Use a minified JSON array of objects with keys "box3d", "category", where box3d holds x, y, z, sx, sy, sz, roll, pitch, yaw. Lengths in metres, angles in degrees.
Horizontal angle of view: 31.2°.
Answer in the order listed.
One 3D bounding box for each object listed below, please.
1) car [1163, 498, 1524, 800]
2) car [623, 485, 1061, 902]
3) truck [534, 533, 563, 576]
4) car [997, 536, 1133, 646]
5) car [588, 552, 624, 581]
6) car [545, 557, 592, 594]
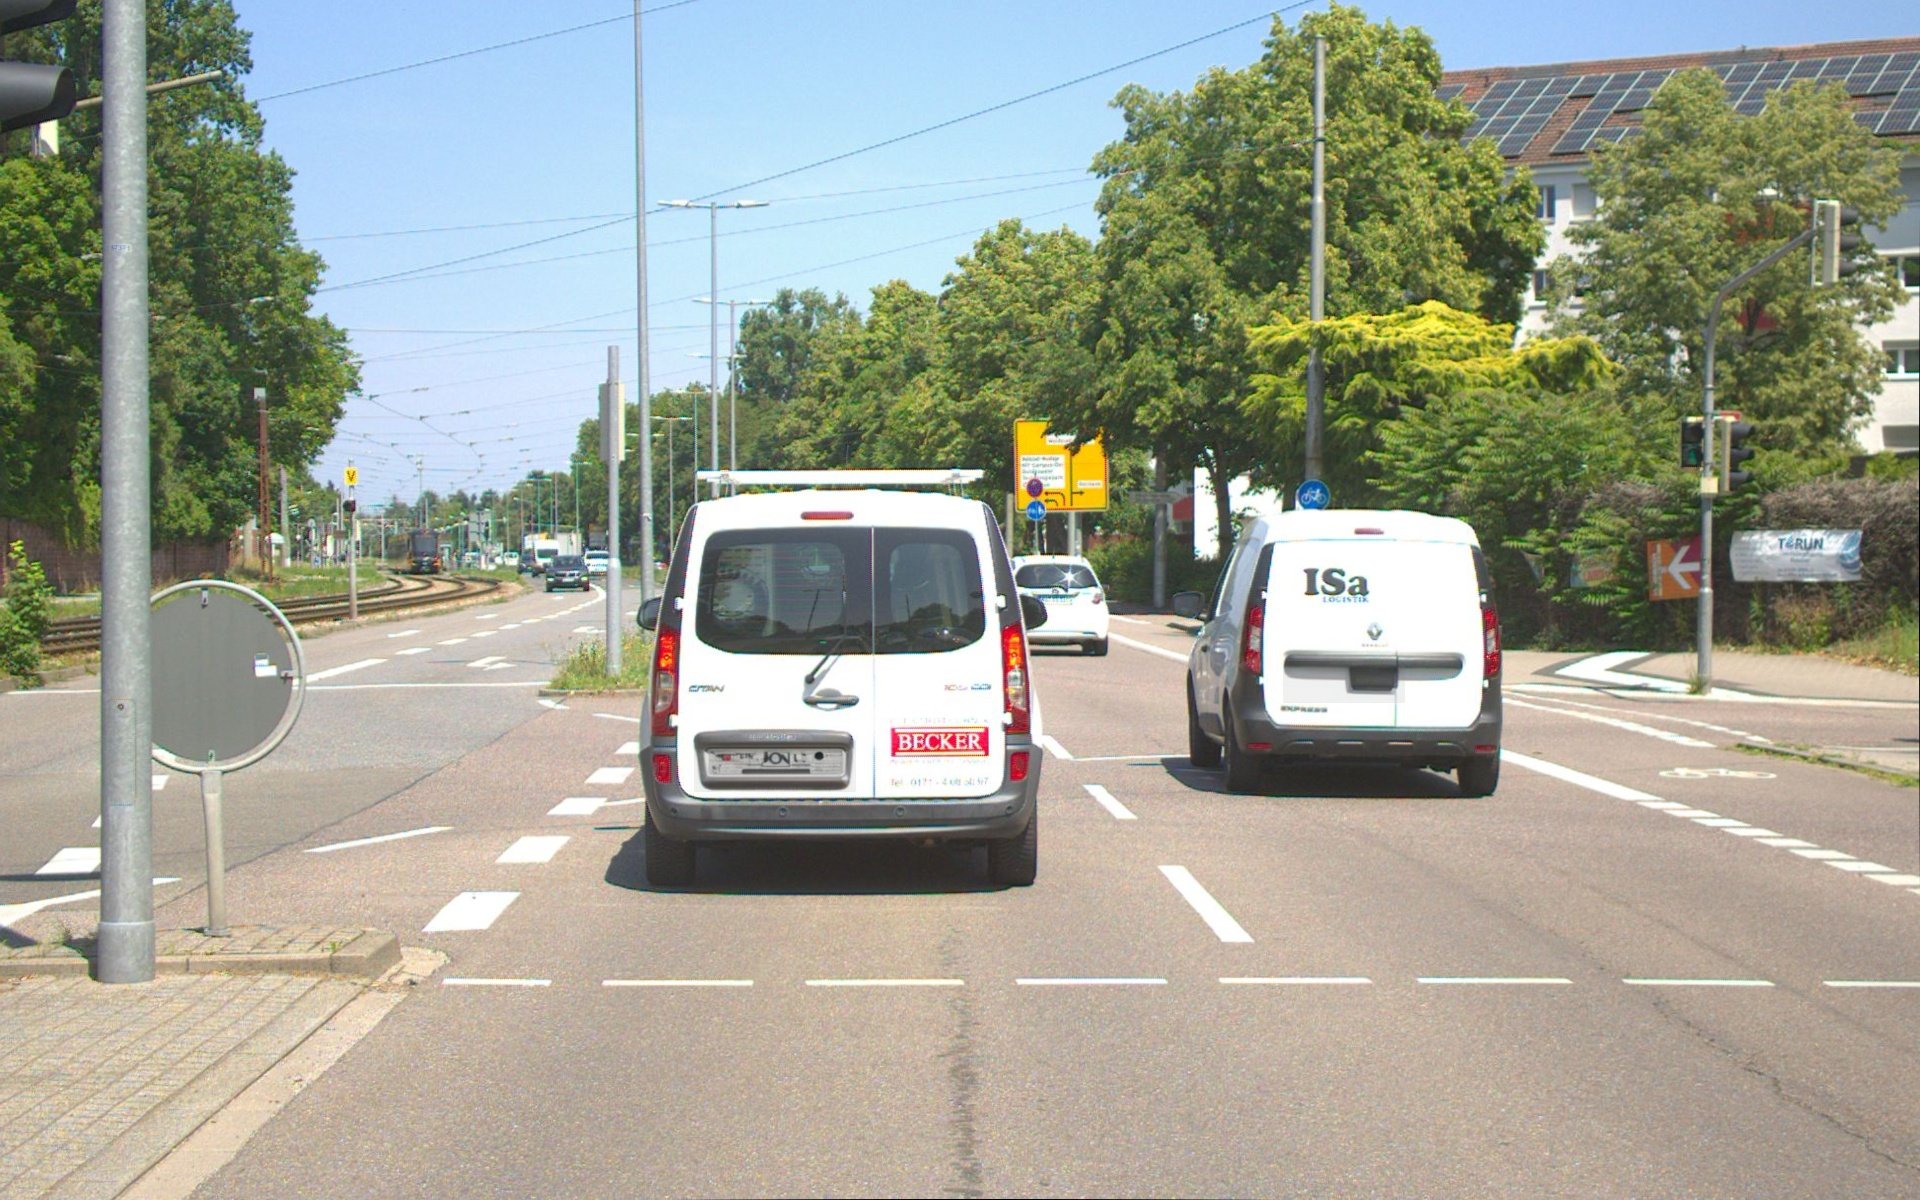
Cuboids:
[{"box3d":[2.441,0.270,22.827,1.727,1.782,4.065,2,1,-2],"category":"car"},{"box3d":[-0.558,0.355,16.735,1.821,1.733,4.396,1,1,-2],"category":"car"},{"box3d":[-30.874,-3.413,258.007,1.993,3.202,5.313,0,1,-9],"category":"truck"},{"box3d":[1.588,-0.169,53.165,1.835,1.563,4.001,2,1,-2],"category":"car"},{"box3d":[-22.095,-2.094,214.733,1.993,1.809,4.001,0,1,-3],"category":"car"},{"box3d":[-16.461,-1.041,144.660,1.697,1.507,4.066,0,1,-3],"category":"car"}]
